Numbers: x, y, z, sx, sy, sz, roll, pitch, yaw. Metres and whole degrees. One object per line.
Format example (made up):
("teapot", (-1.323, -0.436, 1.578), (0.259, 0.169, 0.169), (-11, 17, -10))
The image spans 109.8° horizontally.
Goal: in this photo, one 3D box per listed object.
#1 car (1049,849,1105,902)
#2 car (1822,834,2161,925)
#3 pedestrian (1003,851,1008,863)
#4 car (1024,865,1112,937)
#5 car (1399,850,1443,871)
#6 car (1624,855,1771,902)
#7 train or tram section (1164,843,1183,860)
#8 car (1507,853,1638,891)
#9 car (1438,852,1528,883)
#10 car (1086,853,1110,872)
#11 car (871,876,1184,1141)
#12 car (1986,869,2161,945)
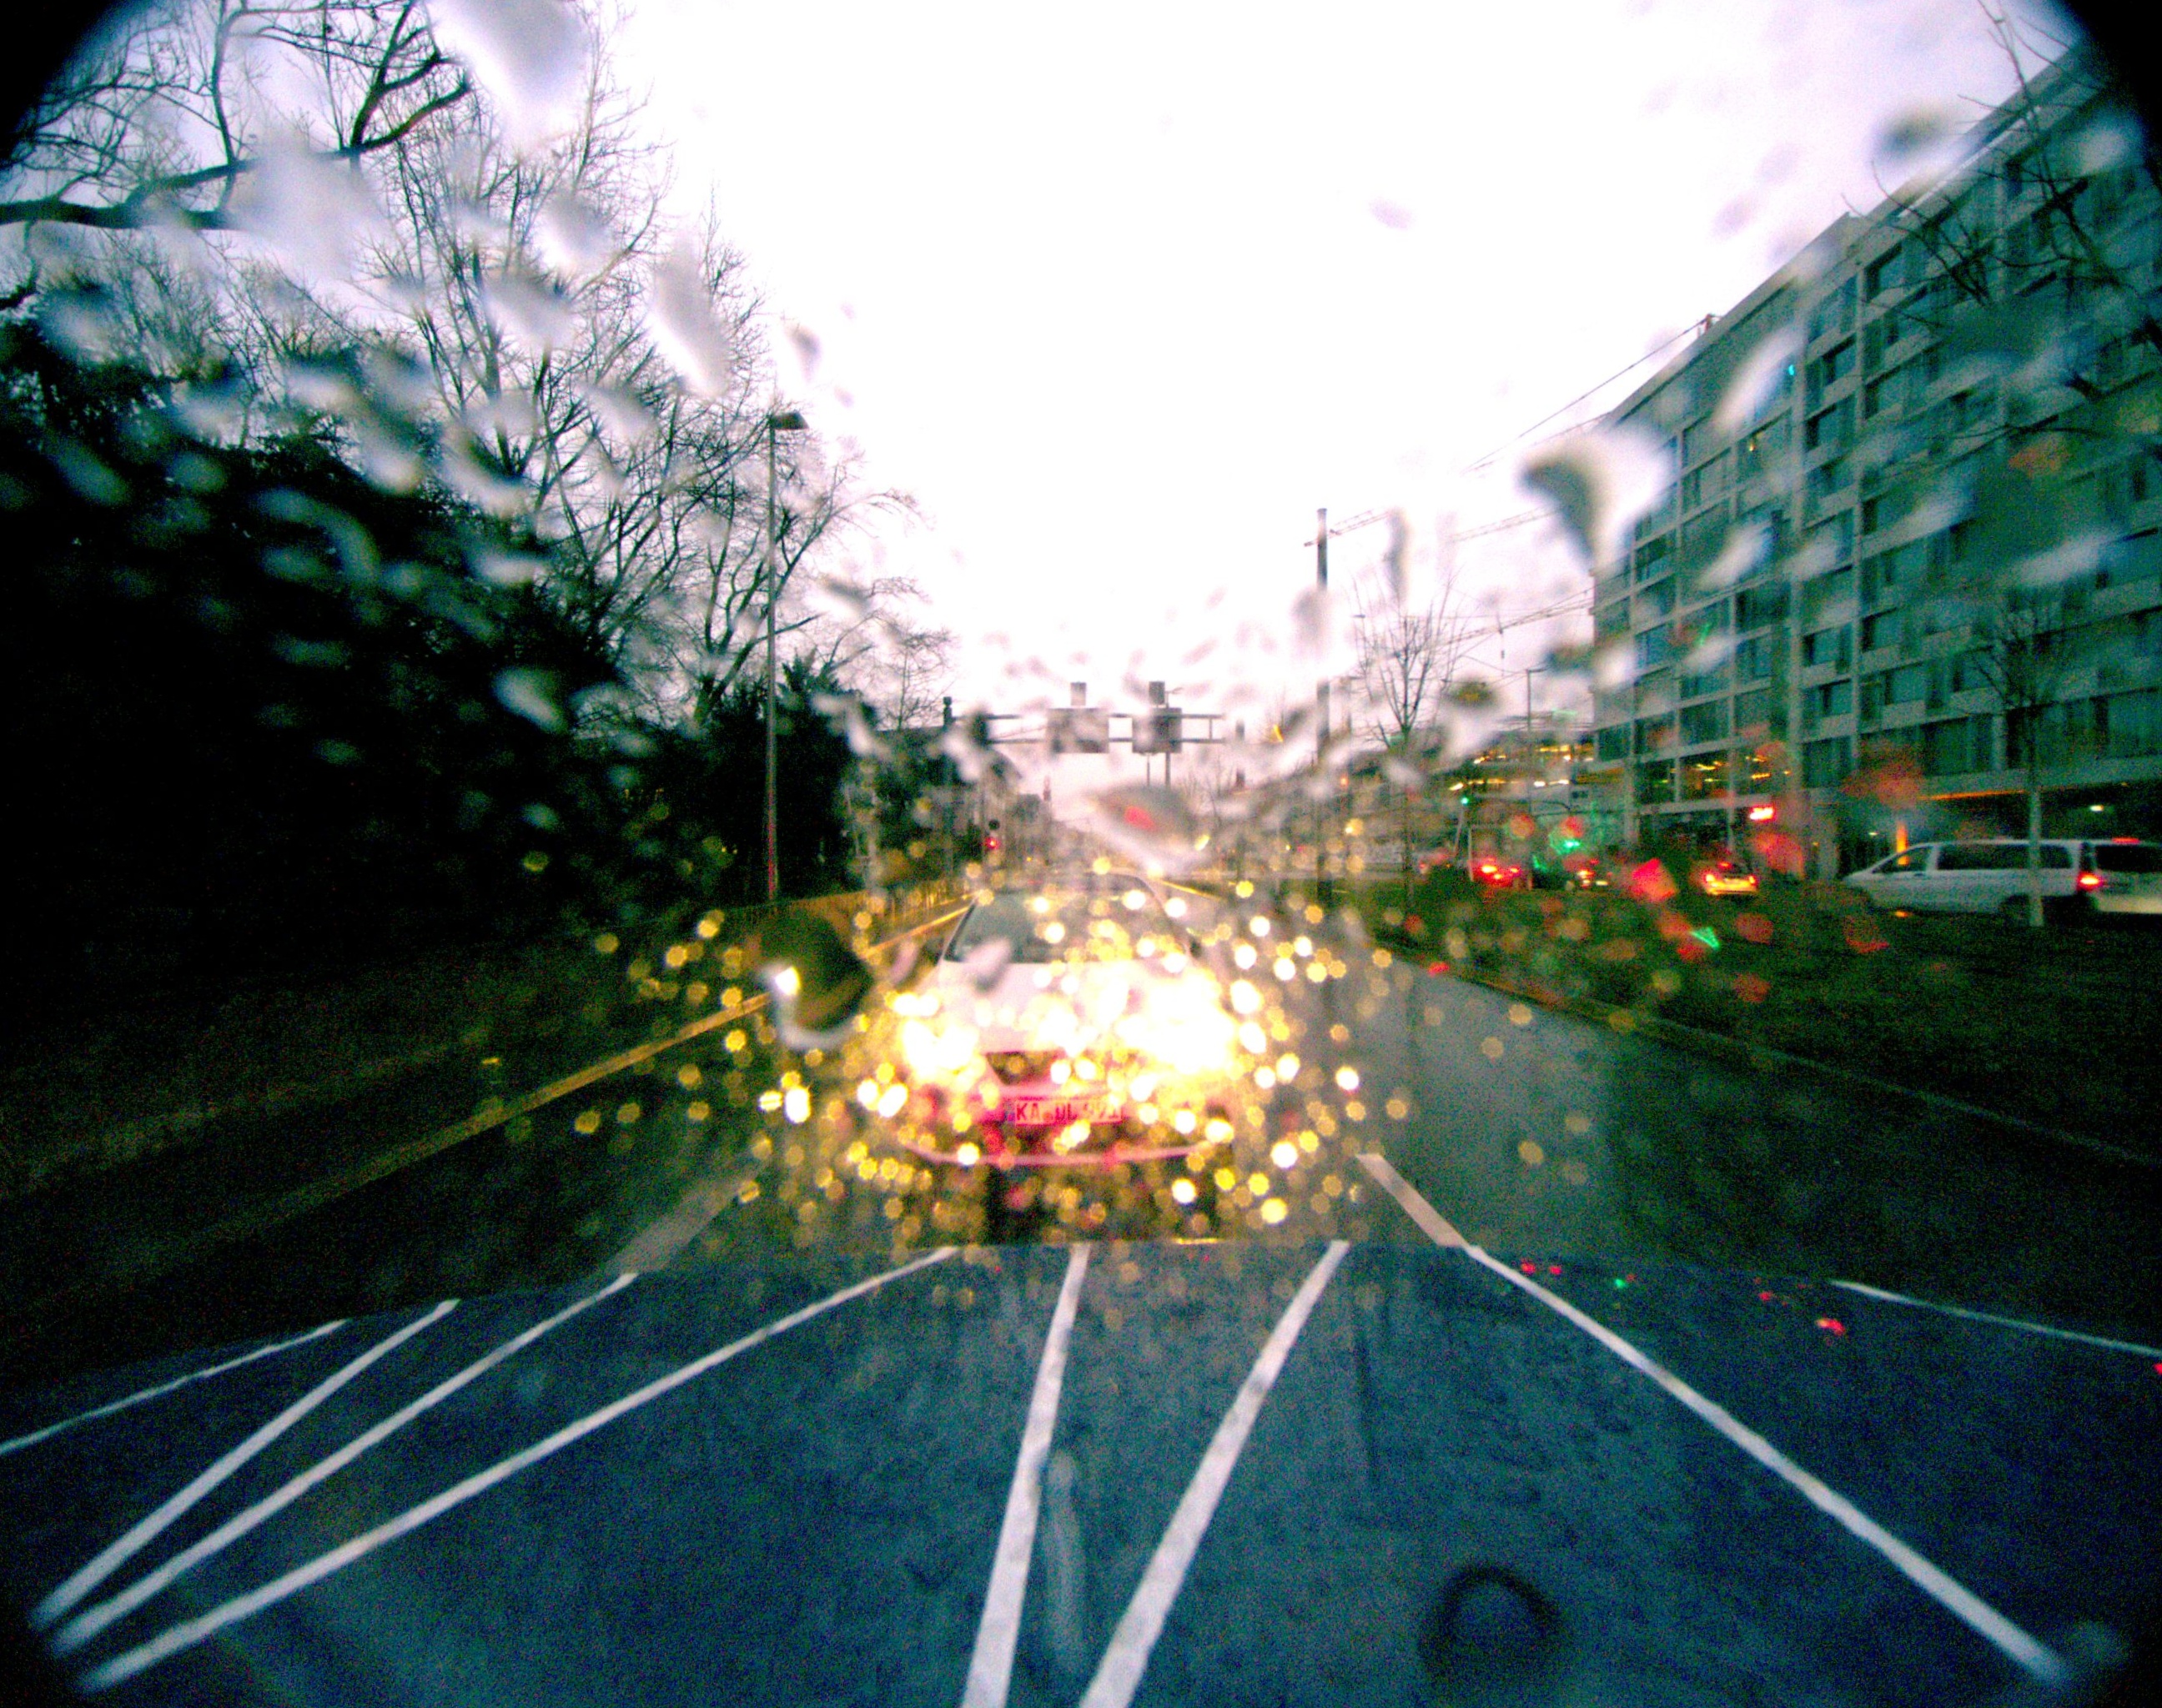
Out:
("car", (-0.122, 0.683, 26.794), (1.781, 1.666, 3.981), (-2, 1, 0))
("car", (19.876, 0.471, 16.827), (1.901, 1.709, 5.117), (0, 0, -1))
("pedestrian", (-8.988, 0.337, 90.700), (0.521, 1.501, 0.588), (0, 1, 1))
("car", (-0.256, 0.970, 17.276), (1.728, 1.318, 3.981), (-2, 1, 0))
("car", (28.608, 0.510, 64.071), (1.900, 1.709, 4.918), (0, 0, 5))
("car", (20.361, 0.764, 25.331), (1.901, 1.423, 3.706), (0, 0, 0))
("train or tram section", (20.250, -0.550, 167.488), (2.964, 3.466, 14.267), (0, 0, 2))
("car", (20.499, 0.708, 31.919), (2.001, 1.488, 4.444), (0, 0, -15))
("car", (20.311, 0.621, 38.661), (1.998, 1.459, 5.034), (0, 0, 1))
("car", (1.287, 0.639, 58.630), (1.767, 1.363, 3.981), (-2, 1, 0))
("car", (-0.312, 0.969, 6.458), (1.798, 1.363, 3.981), (-2, 1, 0))
("car", (26.567, 1.290, 19.082), (1.900, 1.709, 4.916), (0, 0, 1))
